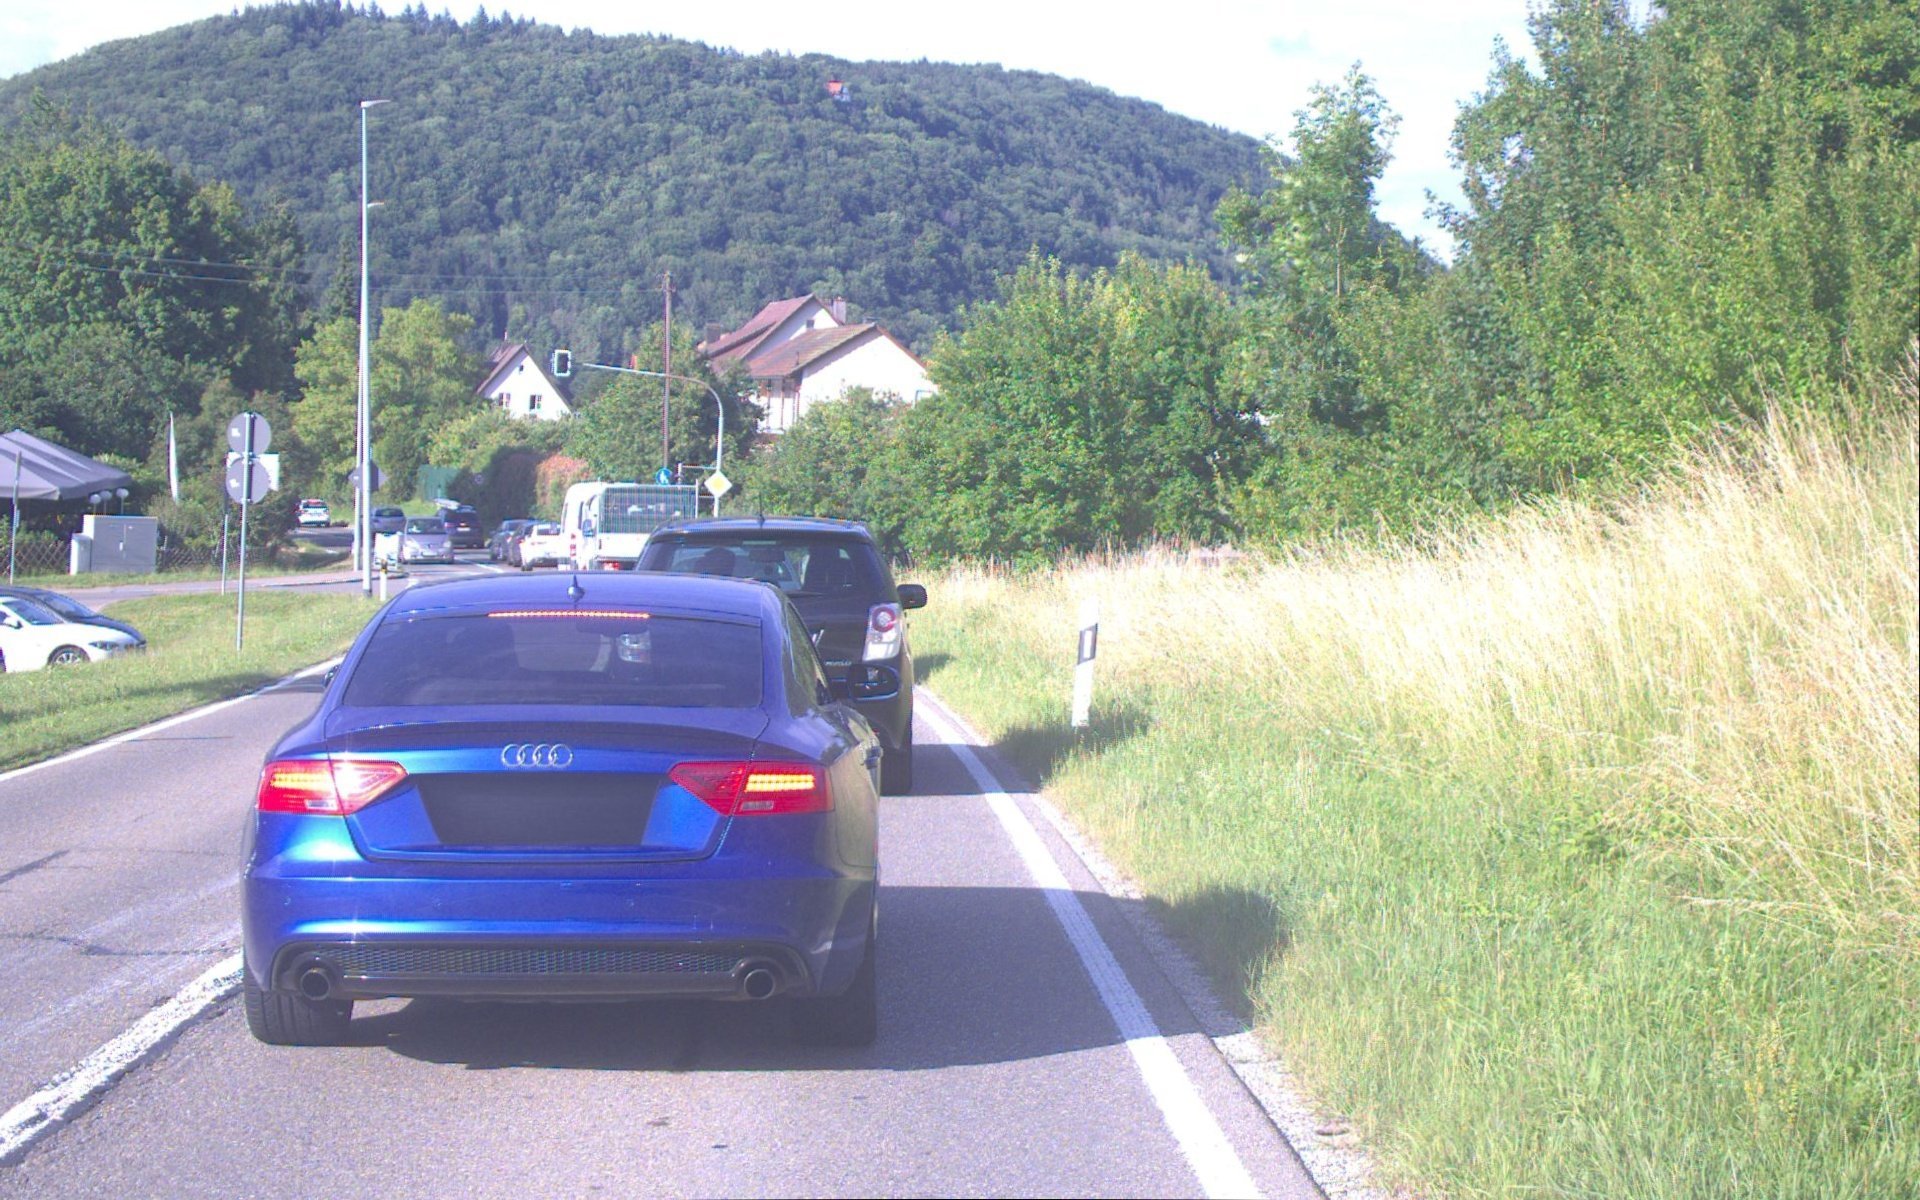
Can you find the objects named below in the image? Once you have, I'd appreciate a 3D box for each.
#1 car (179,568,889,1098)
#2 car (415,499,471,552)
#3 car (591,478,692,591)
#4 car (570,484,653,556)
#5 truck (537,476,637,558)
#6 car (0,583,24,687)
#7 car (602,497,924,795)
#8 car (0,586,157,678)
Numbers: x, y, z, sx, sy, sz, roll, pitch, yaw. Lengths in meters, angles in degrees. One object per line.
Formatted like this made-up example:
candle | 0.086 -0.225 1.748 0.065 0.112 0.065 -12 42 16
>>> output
car | -1.154 0.591 10.993 1.795 1.383 4.000 0 1 0
car | -16.883 -2.412 112.168 1.734 1.656 3.472 1 1 -10
car | -6.444 -1.305 69.281 1.745 2.188 4.001 1 1 -9
car | -8.283 -1.872 81.446 1.745 1.634 4.001 1 1 -9
truck | -9.438 -2.057 86.591 1.697 1.947 5.924 1 1 -14
car | -17.122 0.527 54.350 4.026 1.631 1.999 1 1 7
car | -1.117 0.234 21.139 1.746 1.634 4.000 1 1 0
car | -16.424 0.515 58.893 4.815 1.488 1.880 1 1 7
